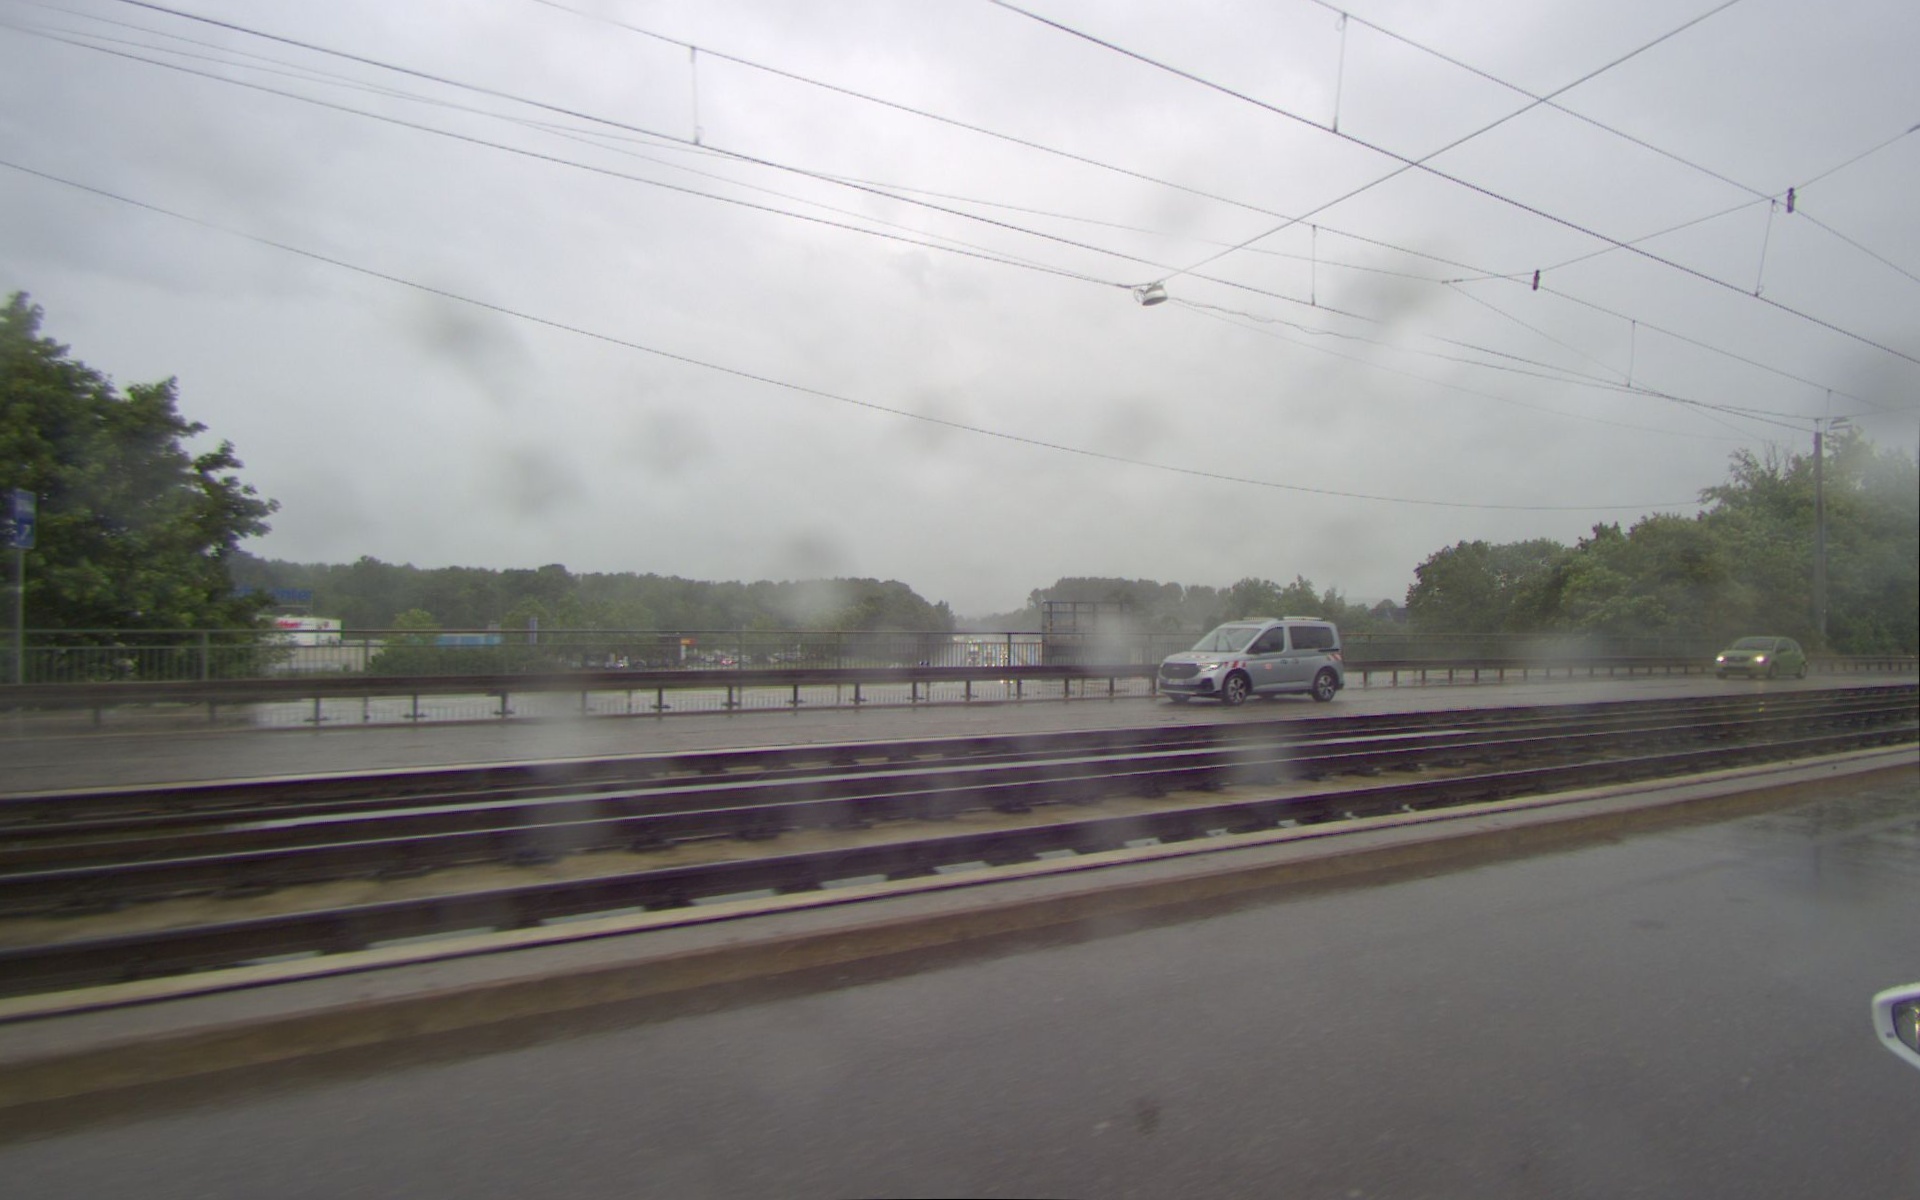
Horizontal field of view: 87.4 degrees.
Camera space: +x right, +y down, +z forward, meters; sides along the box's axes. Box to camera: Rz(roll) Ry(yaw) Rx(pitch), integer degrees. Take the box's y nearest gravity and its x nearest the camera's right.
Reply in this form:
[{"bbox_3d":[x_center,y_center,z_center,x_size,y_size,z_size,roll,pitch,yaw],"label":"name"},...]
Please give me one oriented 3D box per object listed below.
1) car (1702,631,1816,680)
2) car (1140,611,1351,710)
[{"bbox_3d":[27.896,1.918,35.052,3.953,1.615,1.837,2,-1,-30],"label":"car"},{"bbox_3d":[6.179,1.266,21.648,4.342,1.856,1.839,2,2,-30],"label":"car"}]
